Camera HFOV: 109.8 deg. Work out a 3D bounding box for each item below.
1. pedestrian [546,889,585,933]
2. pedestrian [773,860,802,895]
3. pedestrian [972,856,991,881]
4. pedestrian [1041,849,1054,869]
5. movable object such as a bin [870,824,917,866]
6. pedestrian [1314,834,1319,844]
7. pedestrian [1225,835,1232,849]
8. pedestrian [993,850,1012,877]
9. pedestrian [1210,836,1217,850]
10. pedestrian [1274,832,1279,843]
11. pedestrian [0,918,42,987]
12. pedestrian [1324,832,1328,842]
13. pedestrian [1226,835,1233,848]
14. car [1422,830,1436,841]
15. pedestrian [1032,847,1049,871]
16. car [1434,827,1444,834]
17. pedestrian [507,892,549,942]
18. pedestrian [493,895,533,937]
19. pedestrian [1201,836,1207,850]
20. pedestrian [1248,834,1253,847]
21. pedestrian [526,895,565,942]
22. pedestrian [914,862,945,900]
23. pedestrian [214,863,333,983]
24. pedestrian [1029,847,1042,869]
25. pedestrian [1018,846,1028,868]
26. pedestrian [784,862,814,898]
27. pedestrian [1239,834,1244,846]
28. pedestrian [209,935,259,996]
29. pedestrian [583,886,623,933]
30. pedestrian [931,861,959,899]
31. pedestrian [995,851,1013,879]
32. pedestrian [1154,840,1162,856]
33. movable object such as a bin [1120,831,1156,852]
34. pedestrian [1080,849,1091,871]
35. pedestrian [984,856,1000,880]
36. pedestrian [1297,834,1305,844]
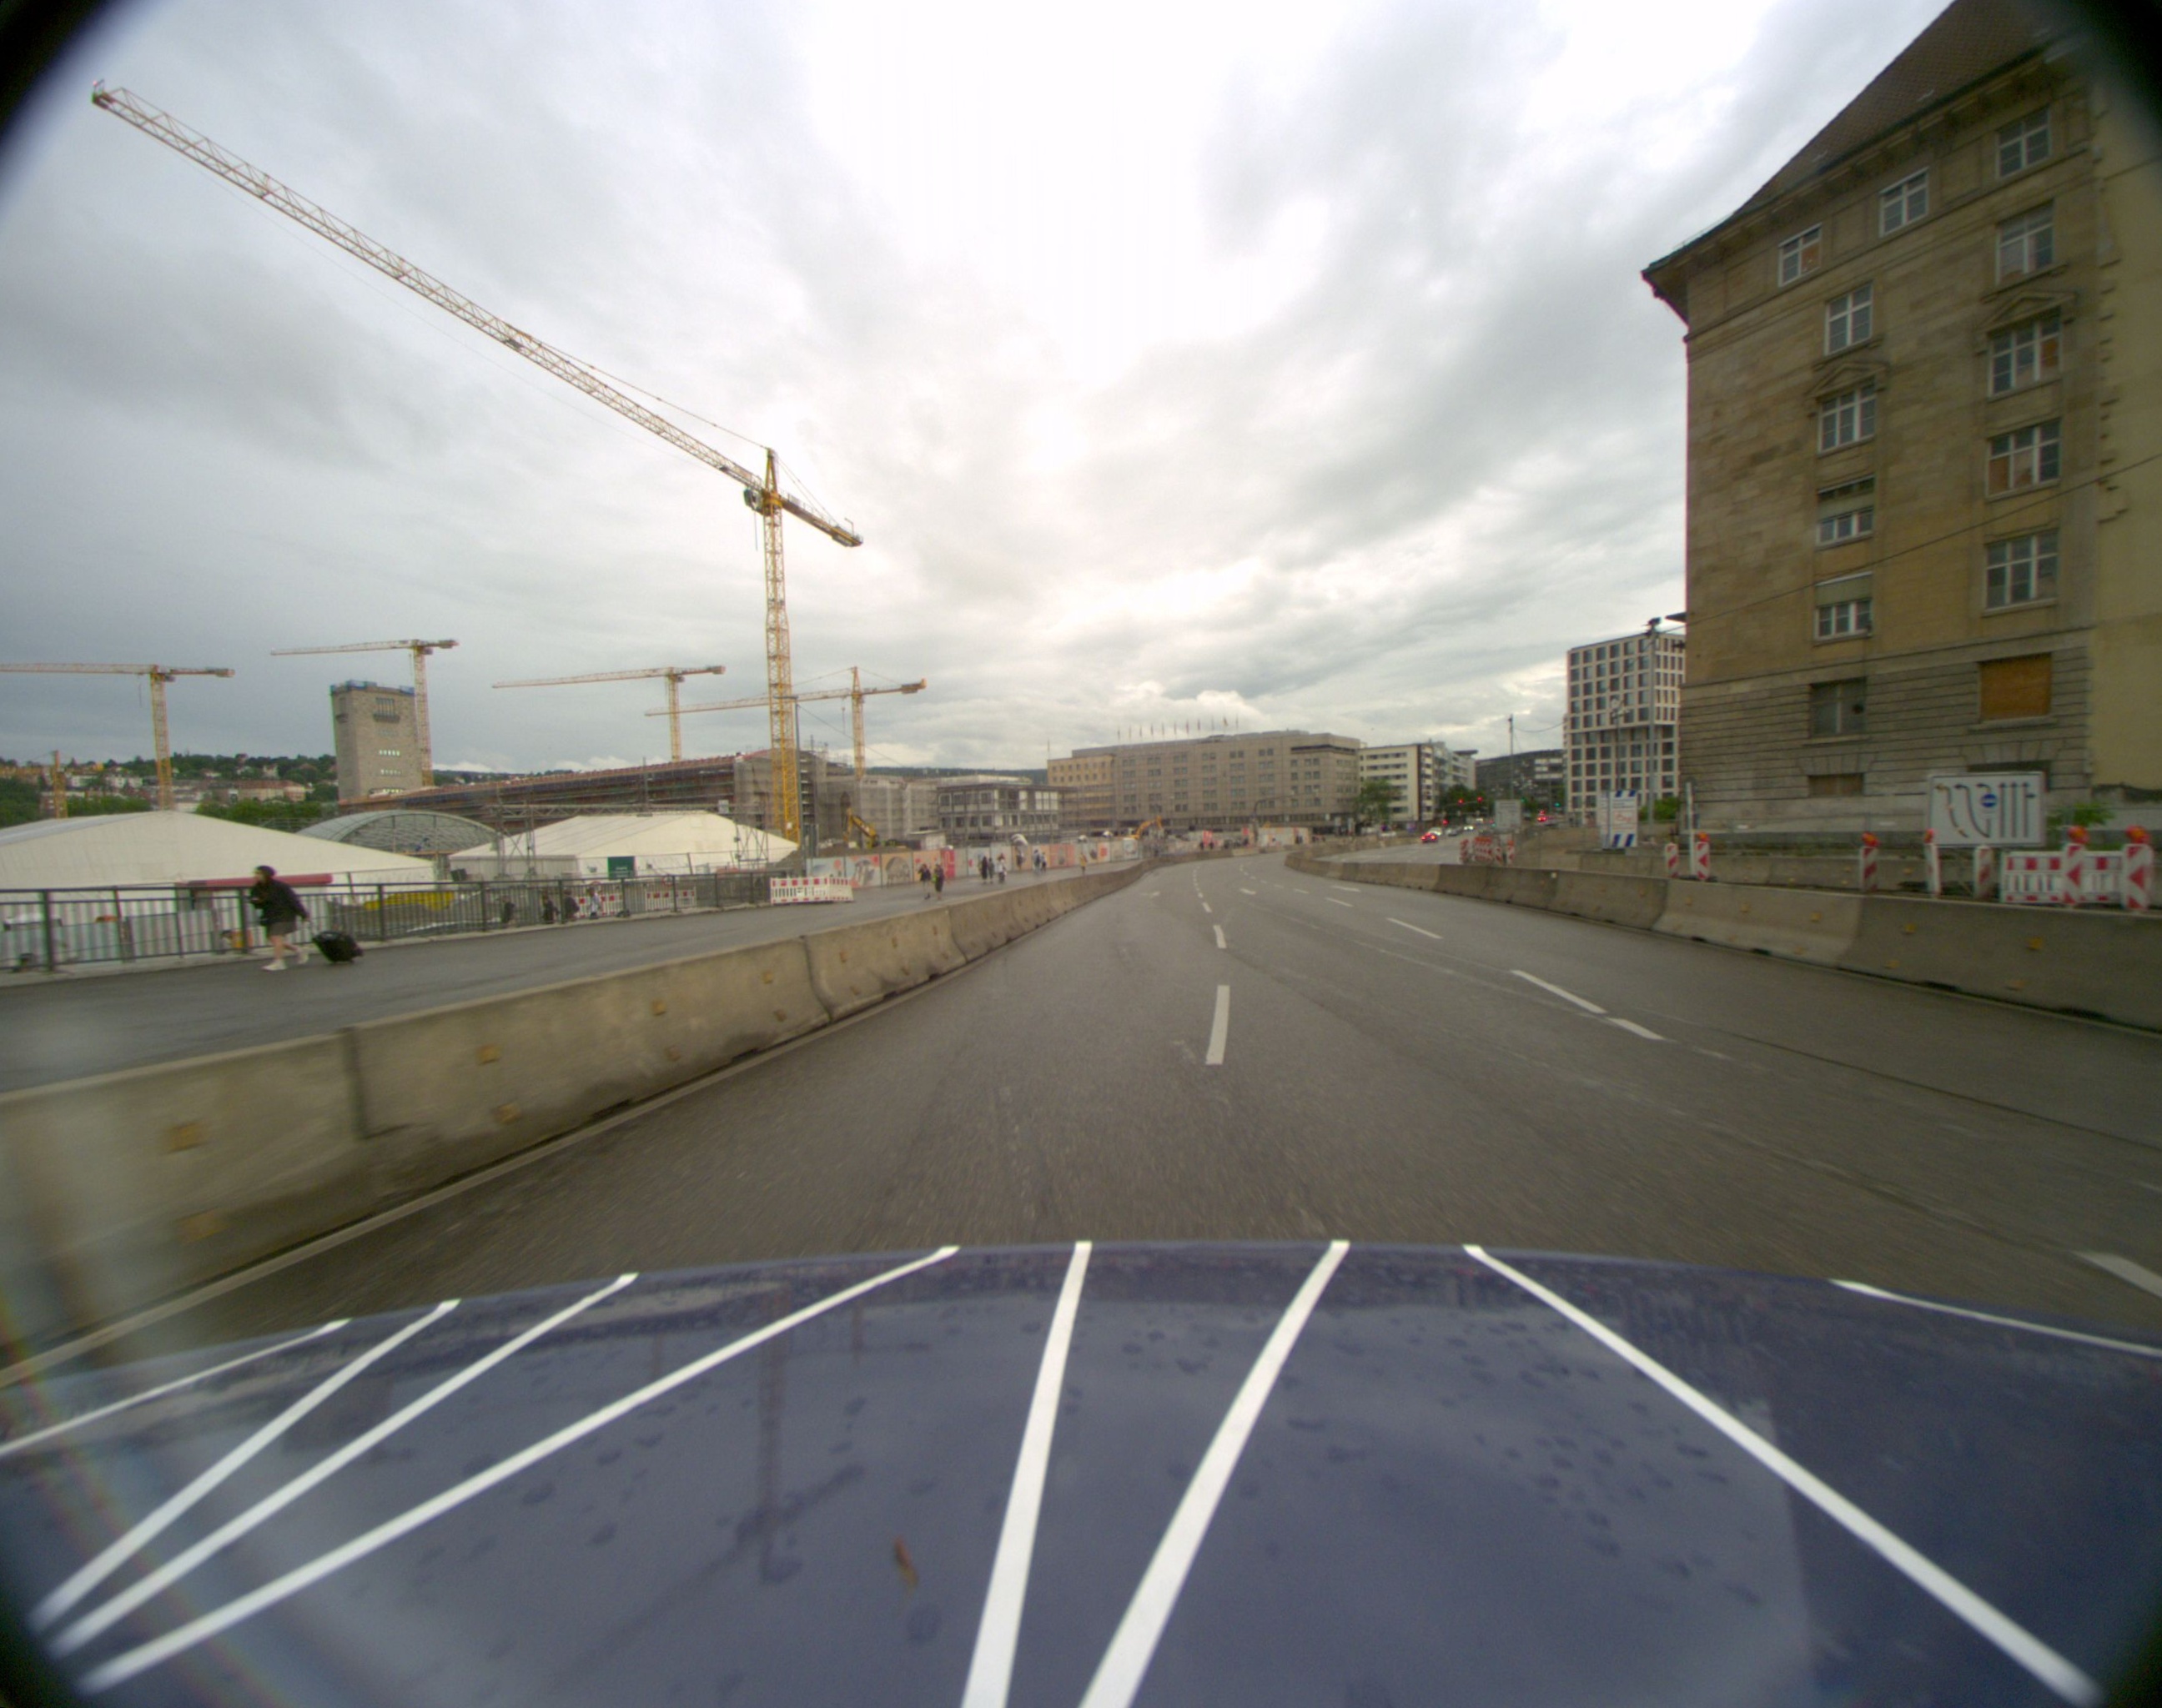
[{"bbox_3d":[-20.582,2.251,30.343,0.866,1.628,1.010,0,3,37],"label":"pedestrian"},{"bbox_3d":[-14.995,1.192,38.834,0.866,1.680,1.010,0,3,37],"label":"pedestrian"},{"bbox_3d":[-6.399,0.899,48.912,0.714,1.544,1.010,-1,3,28],"label":"pedestrian"},{"bbox_3d":[-2.685,0.423,60.392,0.647,1.544,0.767,1,4,44],"label":"pedestrian"},{"bbox_3d":[-16.046,-0.810,65.293,1.940,3.390,4.234,-1,2,15],"label":"movable object such as a bin"},{"bbox_3d":[40.174,-2.584,129.734,0.755,1.751,0.767,1,3,20],"label":"pedestrian"},{"bbox_3d":[18.732,-1.532,96.537,0.654,1.682,0.777,2,4,32],"label":"pedestrian"},{"bbox_3d":[-5.547,0.655,53.472,0.866,1.808,1.010,-1,3,28],"label":"pedestrian"},{"bbox_3d":[16.267,-1.327,93.429,0.647,1.637,0.948,1,3,22],"label":"pedestrian"},{"bbox_3d":[29.613,-2.472,115.264,0.647,1.660,0.767,1,3,20],"label":"pedestrian"},{"bbox_3d":[-27.077,2.491,19.354,0.704,1.607,0.567,0,3,41],"label":"pedestrian"},{"bbox_3d":[43.977,-3.111,136.128,0.652,1.751,0.549,1,3,20],"label":"pedestrian"},{"bbox_3d":[19.451,-1.634,99.314,0.654,1.682,0.777,2,4,32],"label":"pedestrian"},{"bbox_3d":[52.484,-2.769,114.574,1.767,1.513,4.393,-1,2,28],"label":"car"},{"bbox_3d":[-3.090,0.371,58.246,0.818,1.839,0.933,1,4,44],"label":"pedestrian"},{"bbox_3d":[85.698,-5.695,181.878,1.705,1.445,3.801,-1,3,30],"label":"car"},{"bbox_3d":[-20.933,2.363,28.791,0.771,1.773,1.010,0,3,37],"label":"pedestrian"},{"bbox_3d":[-22.907,2.500,30.674,0.866,1.544,1.010,0,3,37],"label":"pedestrian"},{"bbox_3d":[15.180,-1.338,93.782,0.647,1.734,0.767,1,3,22],"label":"pedestrian"},{"bbox_3d":[23.595,-1.893,105.583,0.647,1.751,0.584,1,3,20],"label":"pedestrian"},{"bbox_3d":[-20.039,2.405,28.436,0.698,1.628,0.918,0,3,37],"label":"pedestrian"},{"bbox_3d":[-6.629,1.161,33.251,0.860,1.584,0.954,0,3,36],"label":"pedestrian"},{"bbox_3d":[-12.021,0.984,11.335,0.730,1.643,1.063,0,2,36],"label":"pedestrian"},{"bbox_3d":[-3.655,0.319,60.765,0.647,1.646,0.767,1,4,44],"label":"pedestrian"},{"bbox_3d":[-4.622,0.229,61.004,0.567,1.738,0.496,-1,3,26],"label":"pedestrian"},{"bbox_3d":[-14.166,1.296,38.193,0.866,1.716,1.010,0,3,37],"label":"pedestrian"},{"bbox_3d":[21.808,-1.926,103.145,0.585,1.699,0.678,1,3,20],"label":"pedestrian"},{"bbox_3d":[-24.810,3.252,22.270,0.753,1.628,0.586,-4,3,-33],"label":"pedestrian"},{"bbox_3d":[-19.220,2.225,30.554,0.866,1.772,1.010,0,3,37],"label":"pedestrian"},{"bbox_3d":[-5.902,1.128,32.953,0.732,1.566,0.806,-2,2,36],"label":"pedestrian"},{"bbox_3d":[-4.924,0.714,48.612,0.778,1.713,0.892,-1,3,28],"label":"pedestrian"},{"bbox_3d":[8.360,-0.623,82.438,0.745,1.696,0.688,1,3,22],"label":"pedestrian"},{"bbox_3d":[7.418,-1.624,98.687,4.133,2.521,1.995,-3,3,-27],"label":"movable object such as a bin"},{"bbox_3d":[0.331,0.444,58.058,0.648,1.624,0.908,-1,3,9],"label":"pedestrian"},{"bbox_3d":[-5.709,0.900,48.726,0.609,1.514,0.887,0,3,28],"label":"pedestrian"},{"bbox_3d":[37.122,-2.519,128.262,1.097,1.751,0.908,2,4,35],"label":"pedestrian"}]
